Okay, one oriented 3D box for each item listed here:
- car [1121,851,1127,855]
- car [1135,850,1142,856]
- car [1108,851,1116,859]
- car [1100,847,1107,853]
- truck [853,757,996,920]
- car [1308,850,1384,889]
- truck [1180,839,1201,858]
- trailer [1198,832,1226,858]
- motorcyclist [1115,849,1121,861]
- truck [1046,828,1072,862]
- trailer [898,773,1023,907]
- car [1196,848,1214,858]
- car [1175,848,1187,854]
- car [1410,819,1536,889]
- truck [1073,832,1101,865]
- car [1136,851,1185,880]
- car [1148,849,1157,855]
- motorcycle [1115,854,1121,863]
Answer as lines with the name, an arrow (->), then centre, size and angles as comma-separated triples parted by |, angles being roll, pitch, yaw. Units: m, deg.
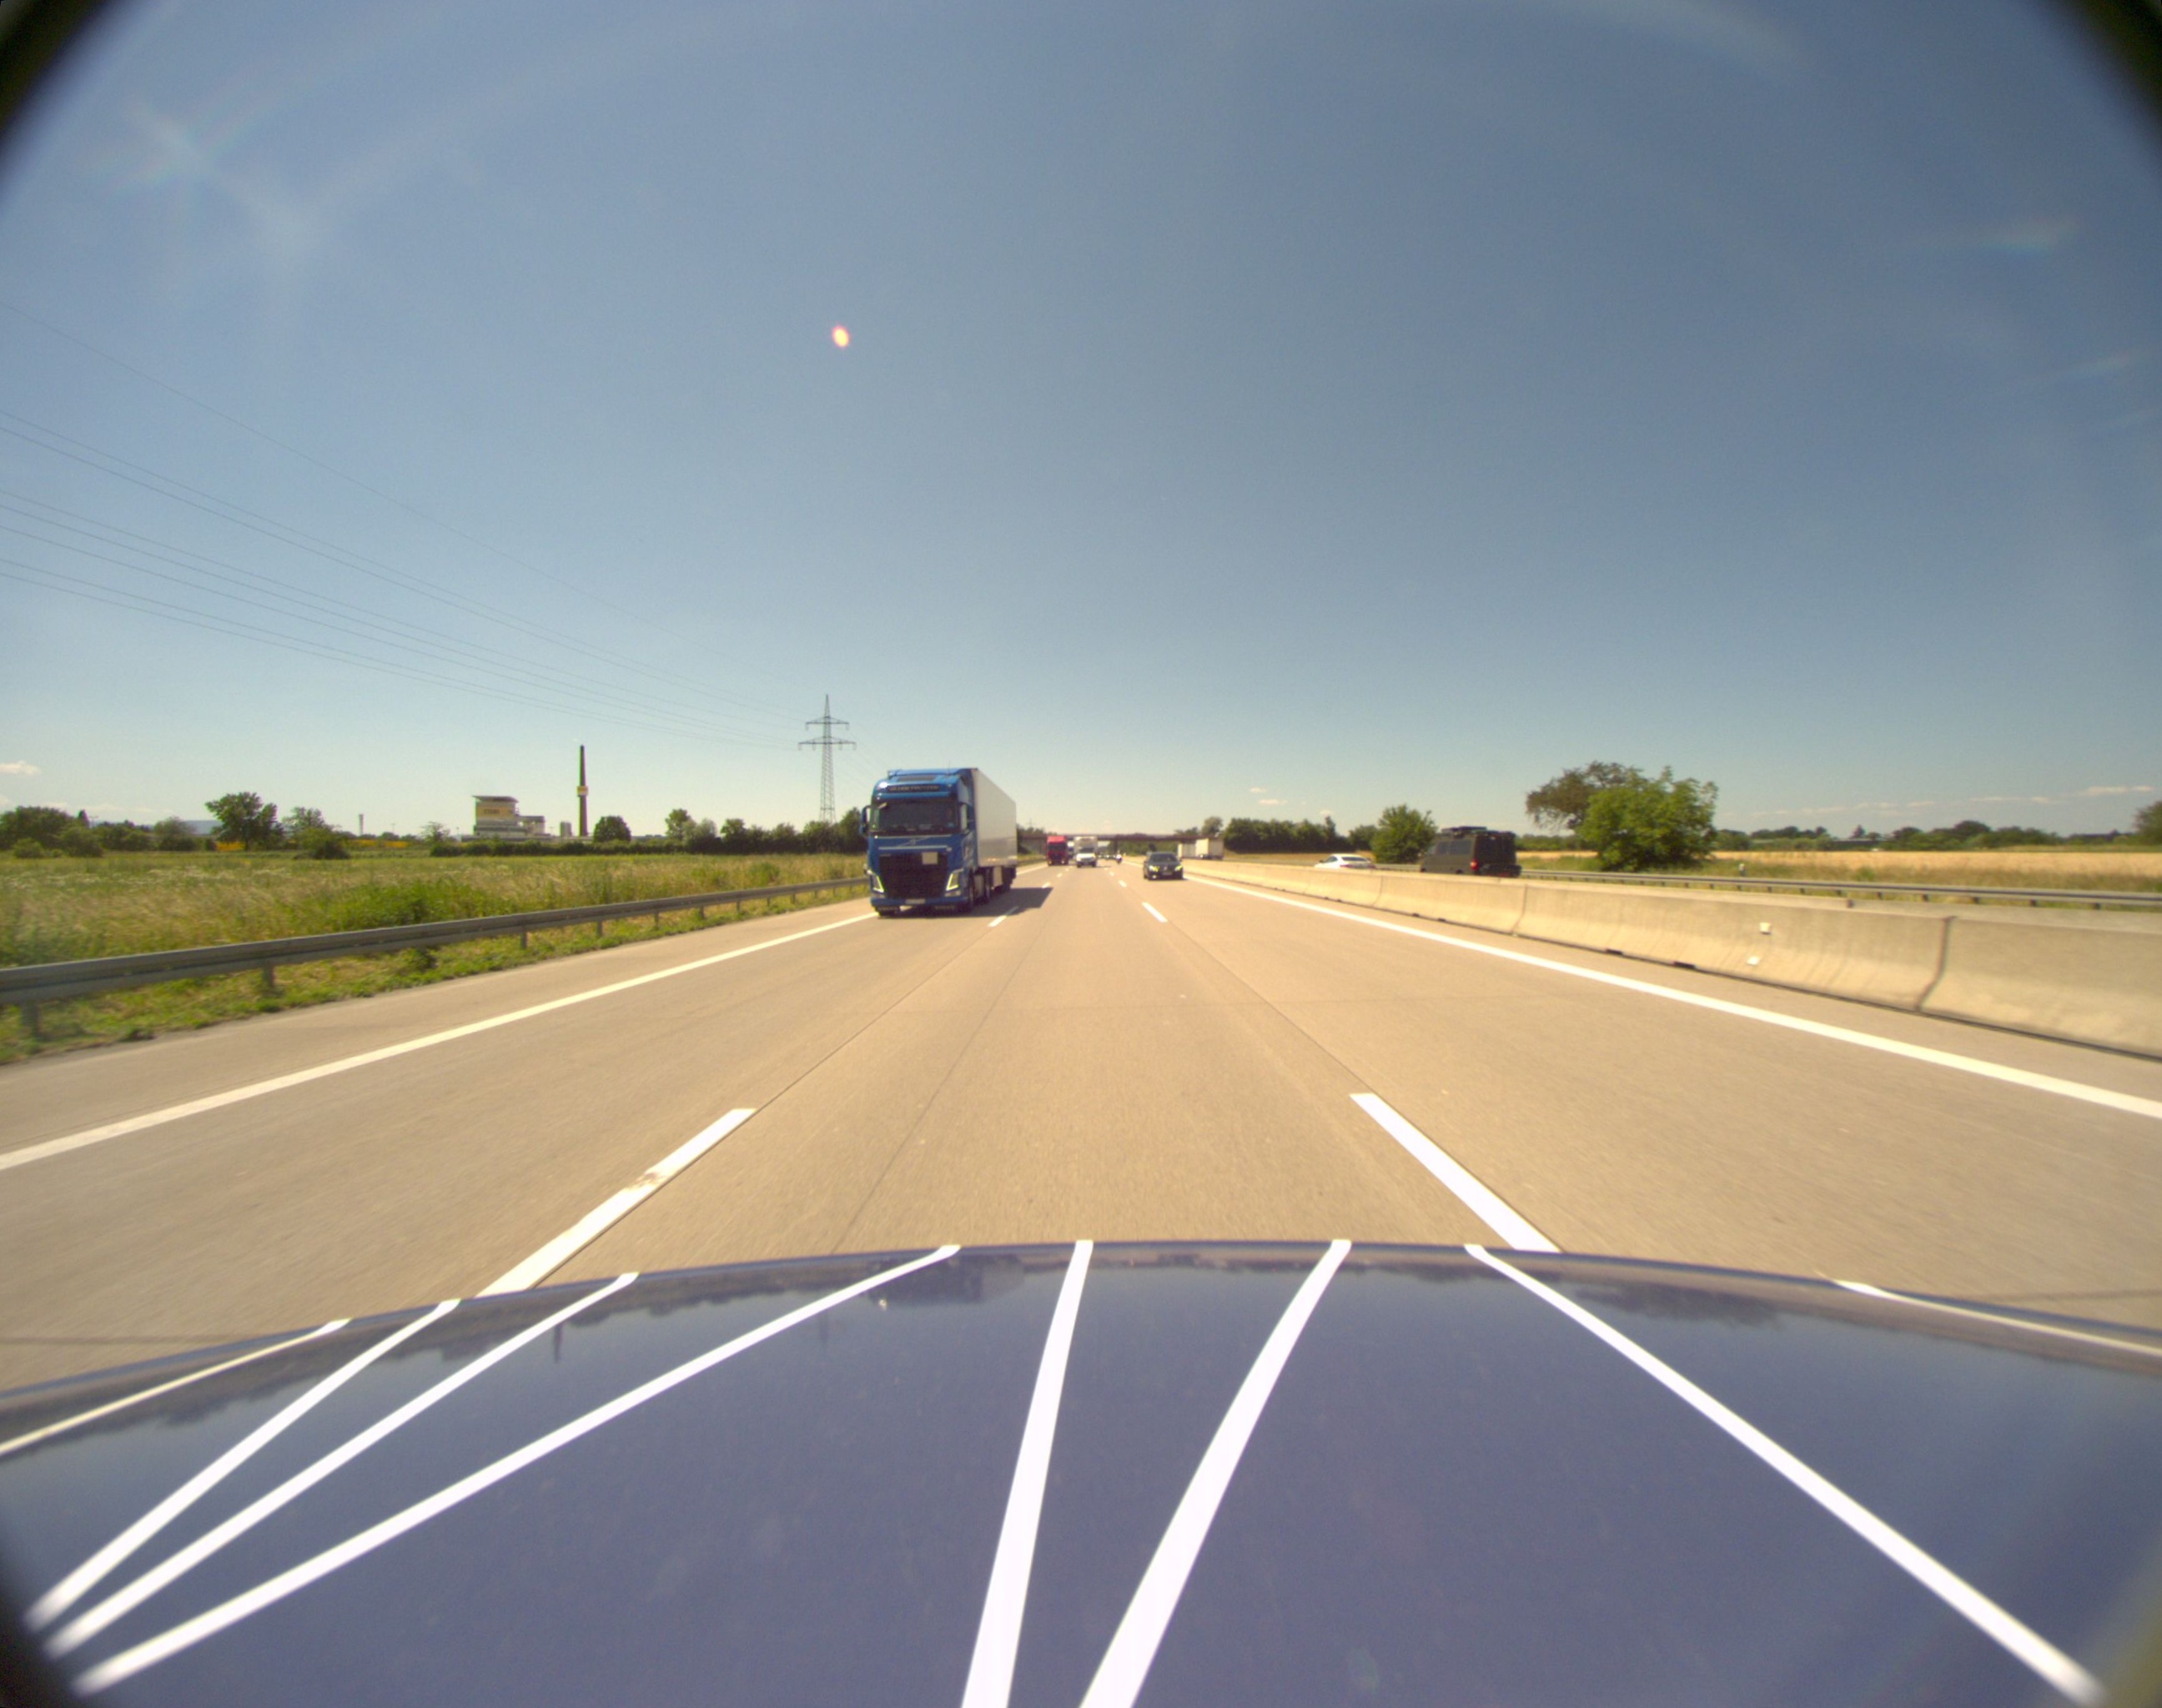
car -> 14.393, -0.365, 252.119 | 1.717, 1.351, 5.043 | -2, 1, 0
car -> 19.366, -0.419, 256.824 | 1.870, 1.933, 5.565 | -2, 1, 1
car -> 6.075, 0.148, 150.028 | 1.557, 1.440, 3.776 | -2, 1, 2
car -> 5.594, -1.089, 190.399 | 1.683, 1.444, 3.564 | -2, 1, 2
truck -> -4.250, -0.408, 21.868 | 2.757, 4.020, 5.465 | -2, 1, 1
car -> 12.694, 0.690, 36.740 | 1.877, 1.643, 5.107 | -2, 1, 0
truck -> 18.772, -0.932, 130.607 | 2.553, 3.124, 7.922 | -1, 1, 0
trailer -> 22.417, -1.503, 130.298 | 2.827, 4.021, 12.677 | -2, 1, 2
motorcyclist -> 4.735, 0.144, 97.187 | 0.672, 1.552, 0.774 | -2, 1, -1
truck -> -2.927, -1.187, 104.024 | 2.855, 4.298, 10.885 | -2, 1, 1
trailer -> -4.207, -0.485, 29.843 | 2.716, 4.020, 12.900 | -2, 1, 0
car -> 13.784, -0.103, 84.722 | 1.525, 1.047, 3.523 | -2, 0, 2
car -> 19.115, -0.550, 145.588 | 1.684, 1.140, 4.397 | 0, 1, 1
car -> 17.290, -0.026, 34.072 | 2.253, 2.770, 6.792 | -2, 1, 2
truck -> 0.731, -0.626, 82.809 | 2.784, 3.328, 7.813 | -2, 1, 1
car -> 4.289, 0.578, 41.980 | 1.999, 1.462, 6.347 | 0, 0, 0
car -> 14.430, -0.333, 153.359 | 1.546, 1.156, 3.375 | -2, 0, 1
motorcycle -> 4.755, 0.562, 97.179 | 0.683, 1.046, 2.065 | -2, 1, 0
